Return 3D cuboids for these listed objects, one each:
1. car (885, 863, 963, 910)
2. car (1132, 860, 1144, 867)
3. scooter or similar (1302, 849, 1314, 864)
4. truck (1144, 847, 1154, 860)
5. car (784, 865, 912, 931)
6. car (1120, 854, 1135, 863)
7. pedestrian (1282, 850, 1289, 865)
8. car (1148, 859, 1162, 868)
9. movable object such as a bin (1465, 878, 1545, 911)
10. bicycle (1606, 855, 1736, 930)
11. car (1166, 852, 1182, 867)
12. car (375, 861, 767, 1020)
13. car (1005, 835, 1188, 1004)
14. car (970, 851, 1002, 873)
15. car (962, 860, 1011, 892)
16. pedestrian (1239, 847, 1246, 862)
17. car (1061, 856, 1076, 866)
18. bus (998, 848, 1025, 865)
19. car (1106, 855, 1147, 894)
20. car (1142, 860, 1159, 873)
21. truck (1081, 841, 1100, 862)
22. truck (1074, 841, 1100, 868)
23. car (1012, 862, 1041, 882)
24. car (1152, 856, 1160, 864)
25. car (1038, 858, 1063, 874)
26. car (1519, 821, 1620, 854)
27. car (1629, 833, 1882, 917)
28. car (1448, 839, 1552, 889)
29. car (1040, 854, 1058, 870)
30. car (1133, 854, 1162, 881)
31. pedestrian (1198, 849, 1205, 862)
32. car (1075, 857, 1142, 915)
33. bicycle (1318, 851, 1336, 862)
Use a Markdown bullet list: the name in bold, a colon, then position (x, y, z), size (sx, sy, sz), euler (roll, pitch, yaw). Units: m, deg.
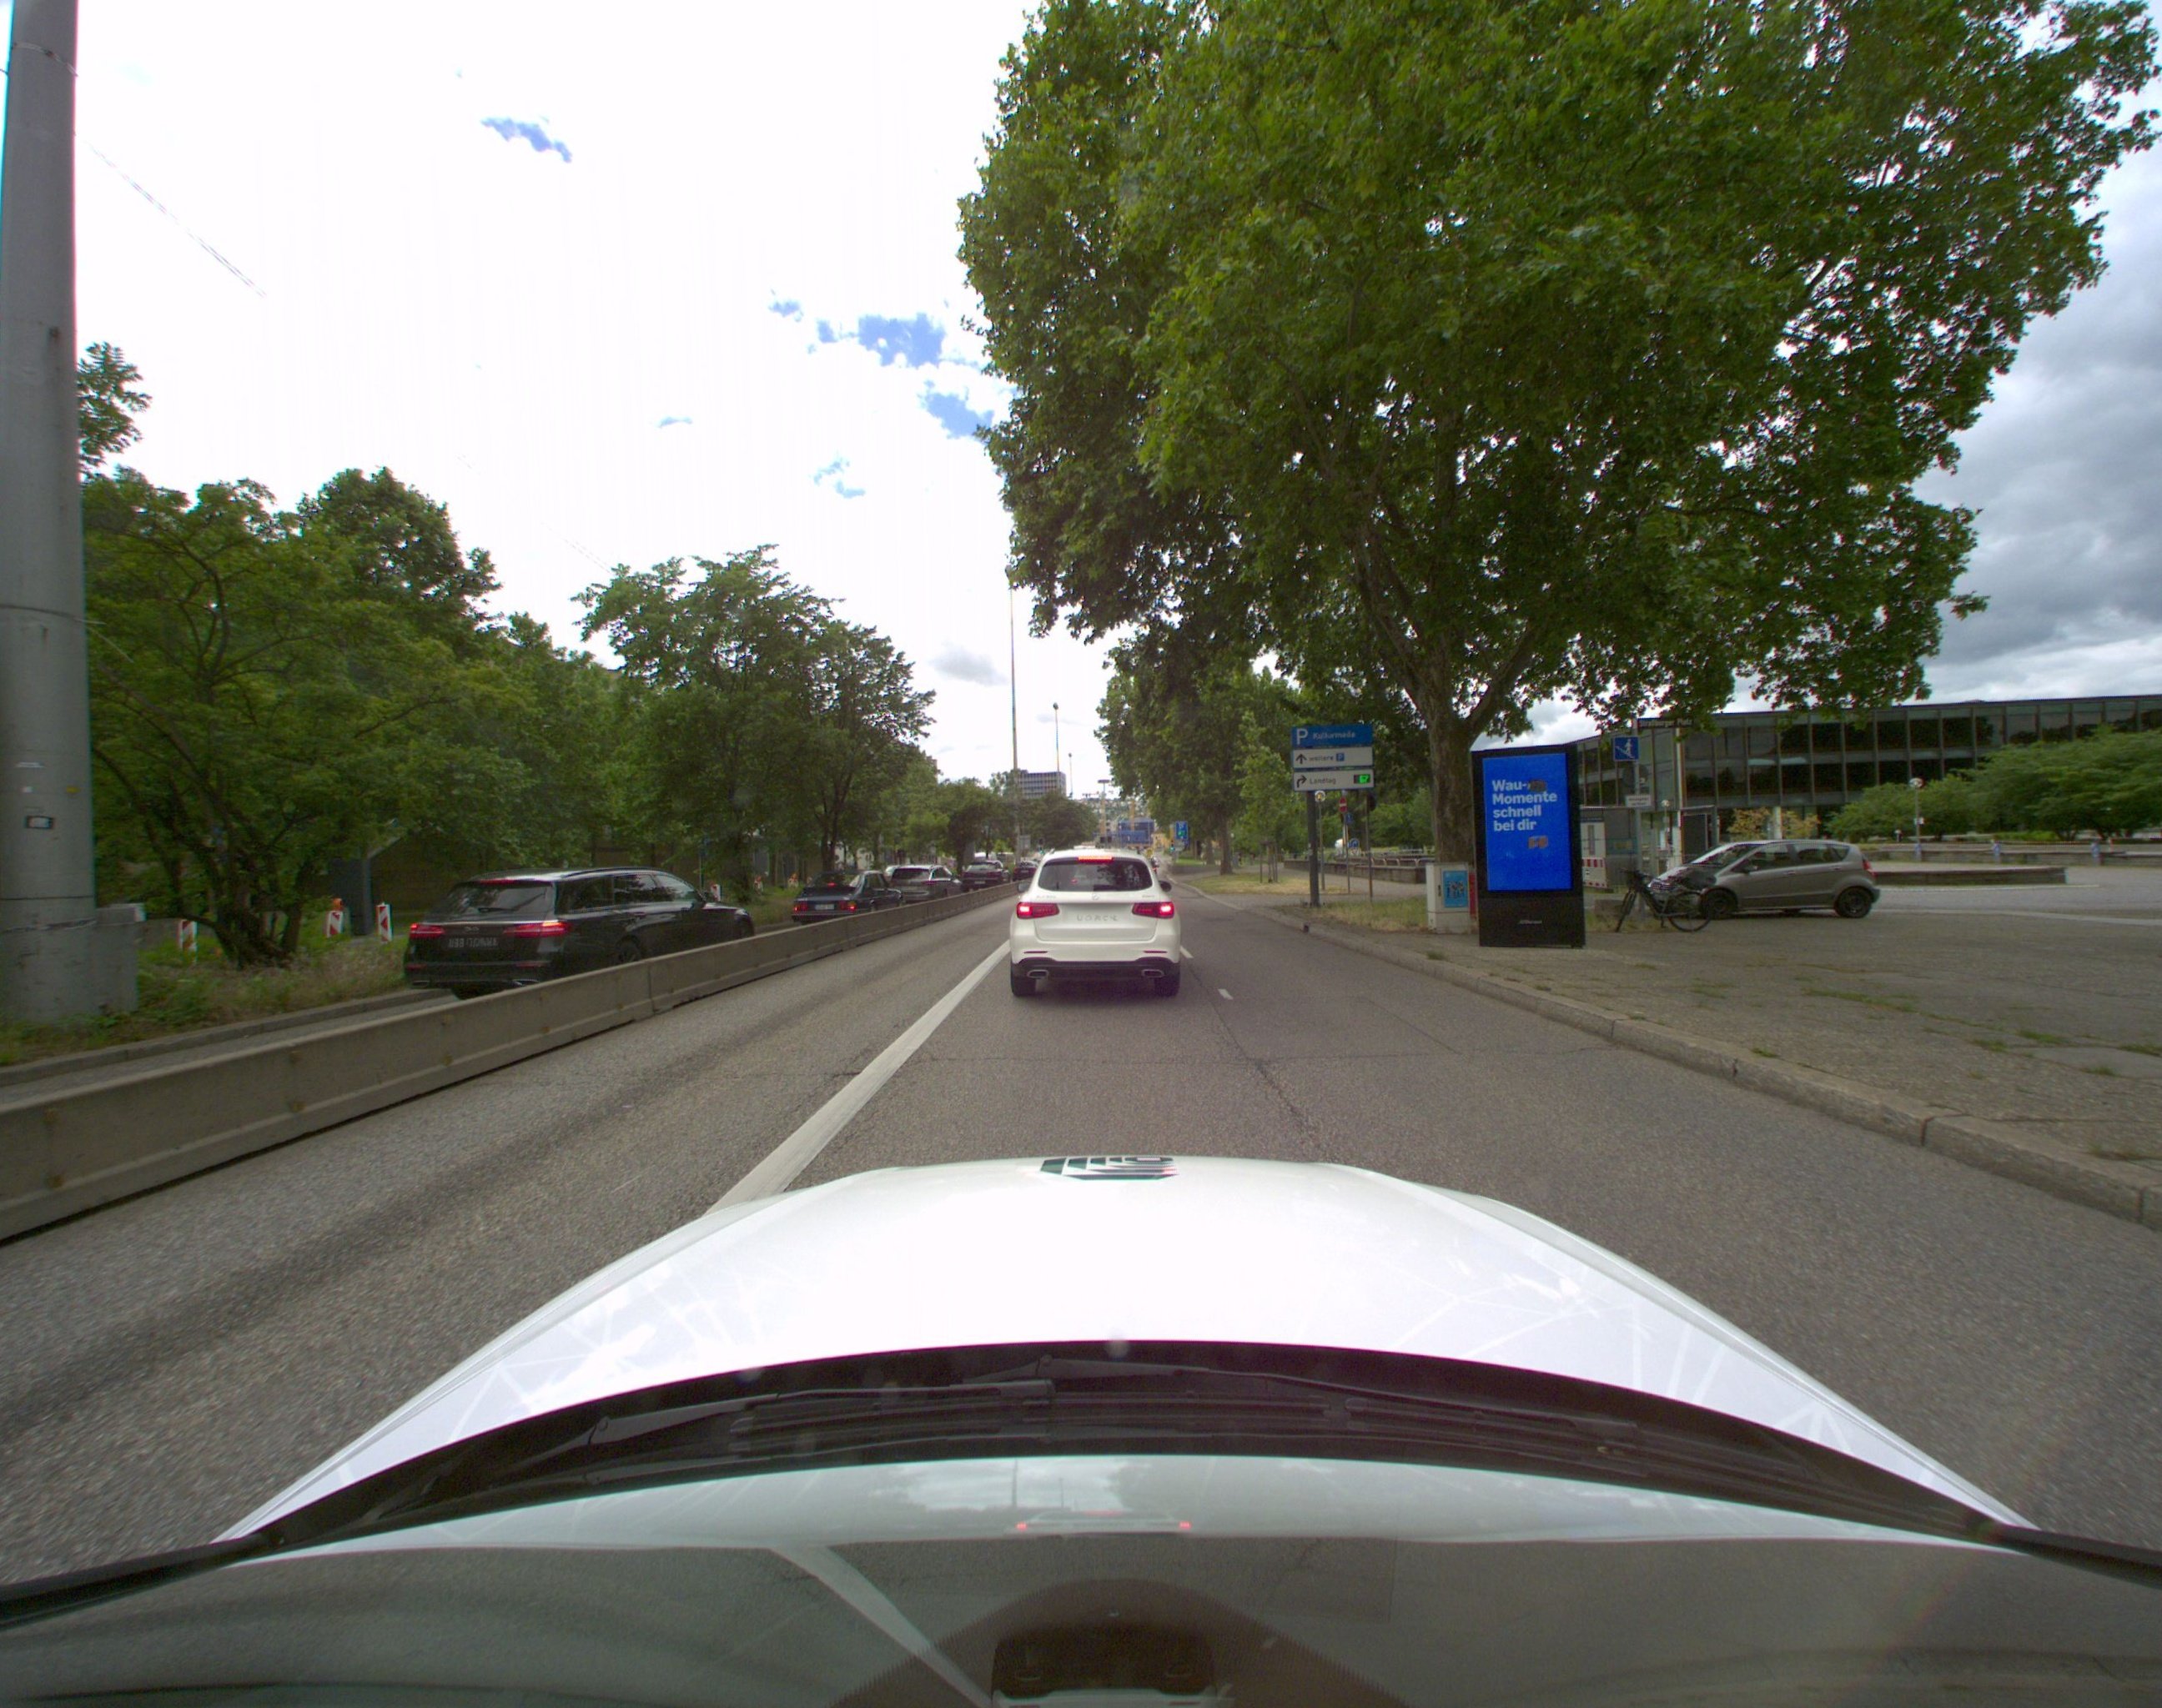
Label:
- **car**: position (-5.109, 1.025, 26.942), size (1.655, 1.436, 3.962), euler (-1, -1, 2)
- **car**: position (9.976, 1.654, 142.677), size (1.938, 1.319, 4.021), euler (-1, -1, 4)
- **scooter or similar**: position (19.863, 0.231, 71.299), size (0.633, 1.245, 2.228), euler (0, -1, 5)
- **truck**: position (21.486, -0.105, 256.262), size (2.865, 4.103, 6.643), euler (0, 0, 3)
- **car**: position (-5.629, 0.998, 20.282), size (1.671, 1.367, 4.545), euler (-2, 0, 2)
- **car**: position (6.501, 0.639, 113.169), size (1.938, 1.319, 4.020), euler (-1, -1, 4)
- **pedestrian**: position (21.510, 0.362, 85.652), size (0.634, 1.611, 0.665), euler (-2, -1, 10)
- **car**: position (10.831, 1.372, 119.213), size (1.938, 1.319, 4.020), euler (-1, -1, 4)
- **movable object such as a bin**: position (8.609, 0.812, 16.568), size (1.291, 0.652, 0.731), euler (0, -1, 11)
- **bicycle**: position (9.985, 0.649, 13.815), size (1.776, 1.221, 0.493), euler (-1, -1, 4)
- **car**: position (12.539, 0.755, 110.338), size (1.985, 2.014, 4.004), euler (-1, -1, 4)
- **car**: position (-5.947, 0.873, 10.401), size (1.809, 1.499, 4.771), euler (-2, 0, 2)
- **car**: position (0.069, 0.657, 10.365), size (1.784, 1.625, 4.433), euler (-2, 0, -3)
- **car**: position (-8.995, 0.728, 77.411), size (2.107, 1.969, 5.582), euler (-2, 0, 3)
- **car**: position (-4.655, 1.042, 40.569), size (1.769, 1.420, 4.003), euler (-2, 0, 2)
- **pedestrian**: position (18.454, 0.026, 93.070), size (0.754, 1.725, 0.701), euler (-2, -1, 10)
- **car**: position (-1.653, 0.915, 106.040), size (1.652, 1.319, 3.551), euler (-1, -1, 4)
- **bus**: position (-13.891, 0.495, 164.862), size (3.653, 3.205, 14.280), euler (-2, 0, 2)
- **car**: position (2.011, 0.883, 36.617), size (1.654, 1.639, 3.547), euler (-1, -1, 0)
- **car**: position (8.366, 1.475, 97.939), size (1.938, 1.428, 4.020), euler (-1, -1, 4)
- **truck**: position (1.493, -0.287, 121.940), size (2.682, 2.992, 5.640), euler (0, -1, 2)
- **truck**: position (0.718, 0.106, 90.336), size (2.611, 2.861, 7.081), euler (0, 0, 2)
- **car**: position (-3.781, 1.222, 57.039), size (1.653, 1.319, 3.549), euler (-1, -1, 2)
- **car**: position (16.986, 1.392, 185.001), size (1.751, 1.669, 4.171), euler (-2, 0, 3)
- **car**: position (-2.639, 1.015, 70.667), size (1.651, 1.319, 3.553), euler (-1, -1, 6)
- **car**: position (36.495, -1.204, 60.975), size (6.080, 2.261, 2.404), euler (-2, -1, 4)
- **car**: position (13.912, 0.424, 16.963), size (3.821, 1.568, 1.680), euler (-1, -1, 2)
- **car**: position (14.768, 0.311, 28.949), size (1.753, 1.551, 4.030), euler (-2, 2, 3)
- **car**: position (-3.214, 0.783, 82.505), size (1.654, 1.513, 3.547), euler (-2, -1, 0)
- **car**: position (4.545, 0.922, 56.077), size (1.818, 1.752, 4.002), euler (-2, 0, 2)
- **pedestrian**: position (18.716, 0.238, 126.386), size (0.752, 2.014, 0.703), euler (-2, -1, 38)
- **car**: position (0.758, 0.922, 24.766), size (1.791, 1.608, 3.752), euler (-1, -1, -2)
- **bicycle**: position (23.397, 0.275, 77.432), size (0.950, 0.975, 2.788), euler (0, -1, 2)
